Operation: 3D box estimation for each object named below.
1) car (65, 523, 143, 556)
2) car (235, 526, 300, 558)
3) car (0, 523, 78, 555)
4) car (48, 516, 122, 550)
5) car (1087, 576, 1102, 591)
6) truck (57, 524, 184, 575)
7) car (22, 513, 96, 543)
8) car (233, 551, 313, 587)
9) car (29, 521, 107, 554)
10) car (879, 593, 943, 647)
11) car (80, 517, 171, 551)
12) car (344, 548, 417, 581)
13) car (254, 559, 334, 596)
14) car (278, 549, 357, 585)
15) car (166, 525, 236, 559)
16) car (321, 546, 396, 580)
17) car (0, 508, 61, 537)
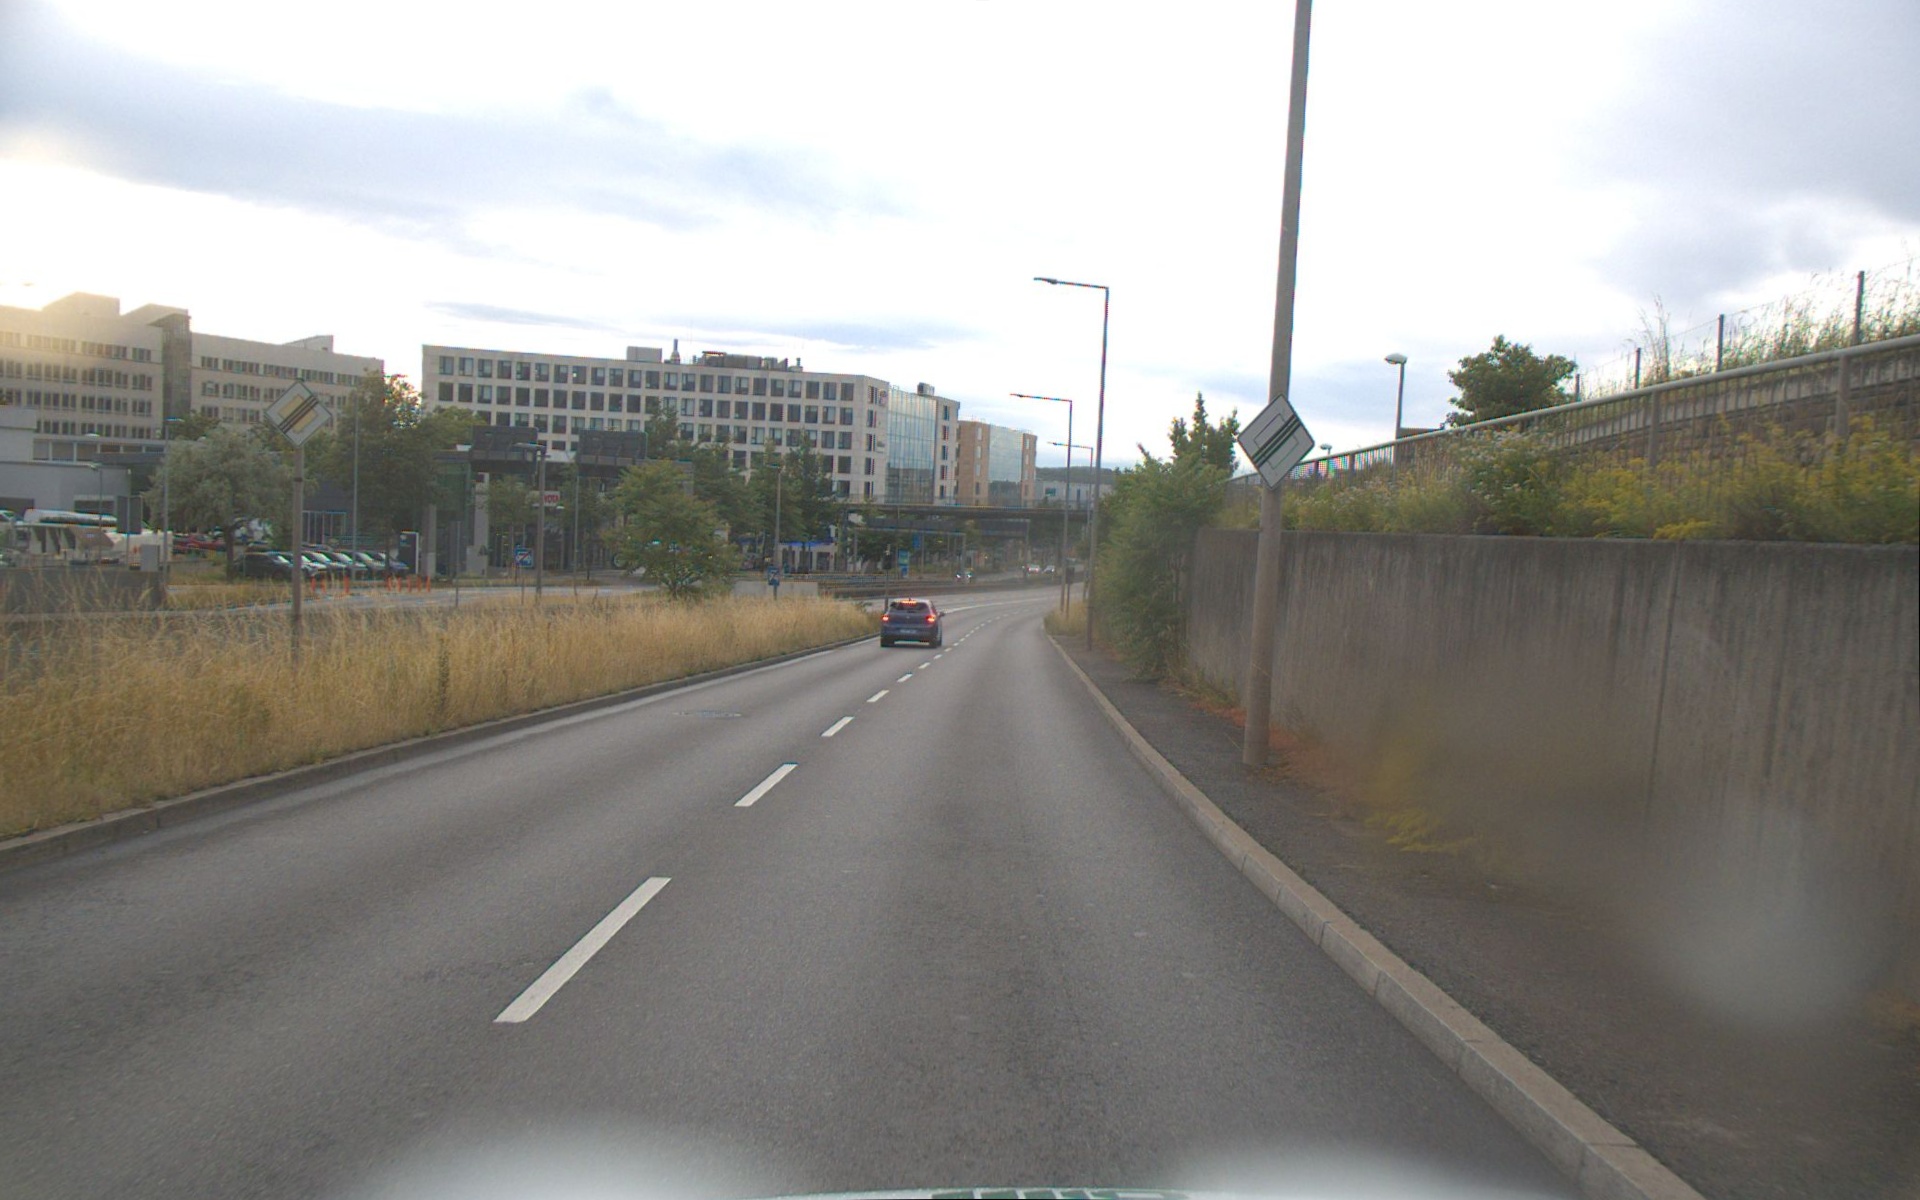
[{"bbox_3d":[-50.905,-3.604,98.426,1.877,1.712,4.004,6,4,15],"label":"car"},{"bbox_3d":[-48.173,-4.036,115.119,3.929,1.812,1.914,3,4,-21],"label":"car"},{"bbox_3d":[-55.635,-3.705,99.892,1.877,1.712,4.004,6,4,15],"label":"car"},{"bbox_3d":[-55.989,-4.321,105.914,1.952,1.913,4.004,6,4,15],"label":"car"},{"bbox_3d":[18.780,-2.283,230.020,1.824,1.779,4.005,5,4,6],"label":"car"},{"bbox_3d":[-48.337,-2.971,95.464,2.317,2.570,7.420,5,4,12],"label":"truck"},{"bbox_3d":[-58.311,-4.676,107.095,1.877,1.712,4.004,6,4,15],"label":"car"},{"bbox_3d":[-39.325,-1.787,94.713,3.917,1.627,1.701,6,4,10],"label":"car"},{"bbox_3d":[-53.560,-3.779,99.385,1.877,1.712,4.004,6,4,15],"label":"car"},{"bbox_3d":[-1.472,0.595,50.797,1.712,1.444,3.480,0,2,2],"label":"car"},{"bbox_3d":[-53.501,-4.207,106.158,1.952,1.913,5.540,6,3,15],"label":"car"},{"bbox_3d":[-37.190,-2.289,106.219,3.904,1.712,1.926,6,4,10],"label":"car"},{"bbox_3d":[-38.990,-1.355,96.867,3.904,1.712,1.926,6,4,10],"label":"car"},{"bbox_3d":[-38.519,-1.993,99.148,3.904,1.712,1.926,6,4,10],"label":"car"},{"bbox_3d":[-48.188,-3.691,105.065,1.862,1.913,4.004,6,4,15],"label":"car"},{"bbox_3d":[-37.770,-2.312,103.933,3.904,1.712,1.926,6,4,10],"label":"car"},{"bbox_3d":[-61.116,-5.060,108.098,1.877,1.712,4.004,6,4,15],"label":"car"}]
